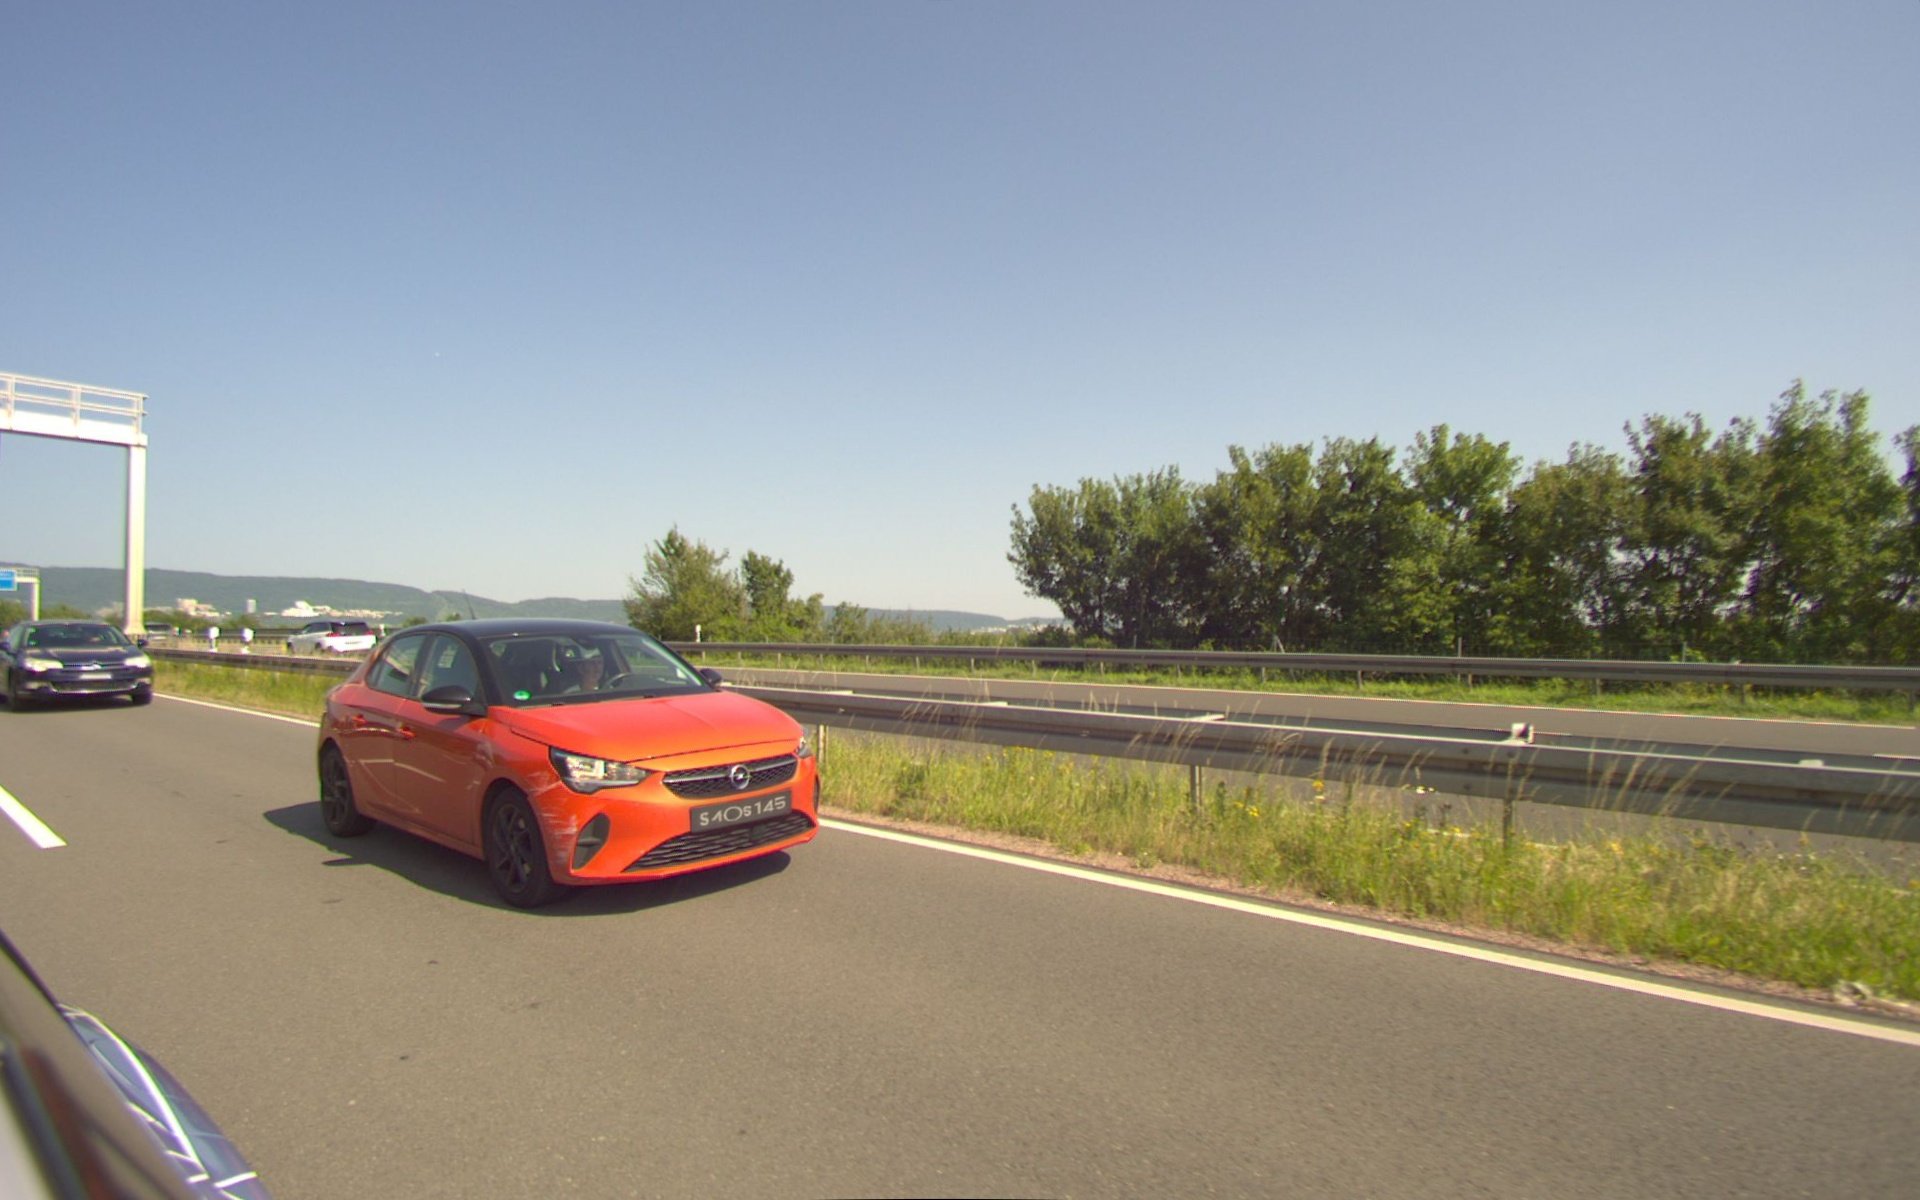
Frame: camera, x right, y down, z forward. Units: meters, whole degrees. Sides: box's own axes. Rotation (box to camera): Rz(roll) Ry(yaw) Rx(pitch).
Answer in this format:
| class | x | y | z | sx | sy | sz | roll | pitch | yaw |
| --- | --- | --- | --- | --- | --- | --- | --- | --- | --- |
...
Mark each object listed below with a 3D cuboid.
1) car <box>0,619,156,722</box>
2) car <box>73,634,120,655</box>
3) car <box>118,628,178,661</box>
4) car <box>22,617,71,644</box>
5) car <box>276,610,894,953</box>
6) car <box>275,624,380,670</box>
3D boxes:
| class | x | y | z | sx | sy | sz | roll | pitch | yaw |
| --- | --- | --- | --- | --- | --- | --- | --- | --- | --- |
| car | -15.526 | 1.139 | 17.473 | 4.372 | 1.545 | 1.765 | -2 | -1 | 40 |
| car | -54.790 | 2.838 | 64.219 | 3.710 | 1.279 | 1.551 | -2 | -2 | 38 |
| car | -43.229 | 2.371 | 53.874 | 3.998 | 1.629 | 1.715 | -2 | -2 | 39 |
| car | -66.480 | 2.231 | 73.630 | 4.411 | 1.920 | 1.974 | -2 | -2 | 38 |
| car | -2.592 | 0.816 | 6.355 | 4.408 | 1.448 | 1.692 | -2 | -2 | 40 |
| car | -24.398 | 1.771 | 38.976 | 4.621 | 1.632 | 1.884 | -2 | -1 | 37 |
